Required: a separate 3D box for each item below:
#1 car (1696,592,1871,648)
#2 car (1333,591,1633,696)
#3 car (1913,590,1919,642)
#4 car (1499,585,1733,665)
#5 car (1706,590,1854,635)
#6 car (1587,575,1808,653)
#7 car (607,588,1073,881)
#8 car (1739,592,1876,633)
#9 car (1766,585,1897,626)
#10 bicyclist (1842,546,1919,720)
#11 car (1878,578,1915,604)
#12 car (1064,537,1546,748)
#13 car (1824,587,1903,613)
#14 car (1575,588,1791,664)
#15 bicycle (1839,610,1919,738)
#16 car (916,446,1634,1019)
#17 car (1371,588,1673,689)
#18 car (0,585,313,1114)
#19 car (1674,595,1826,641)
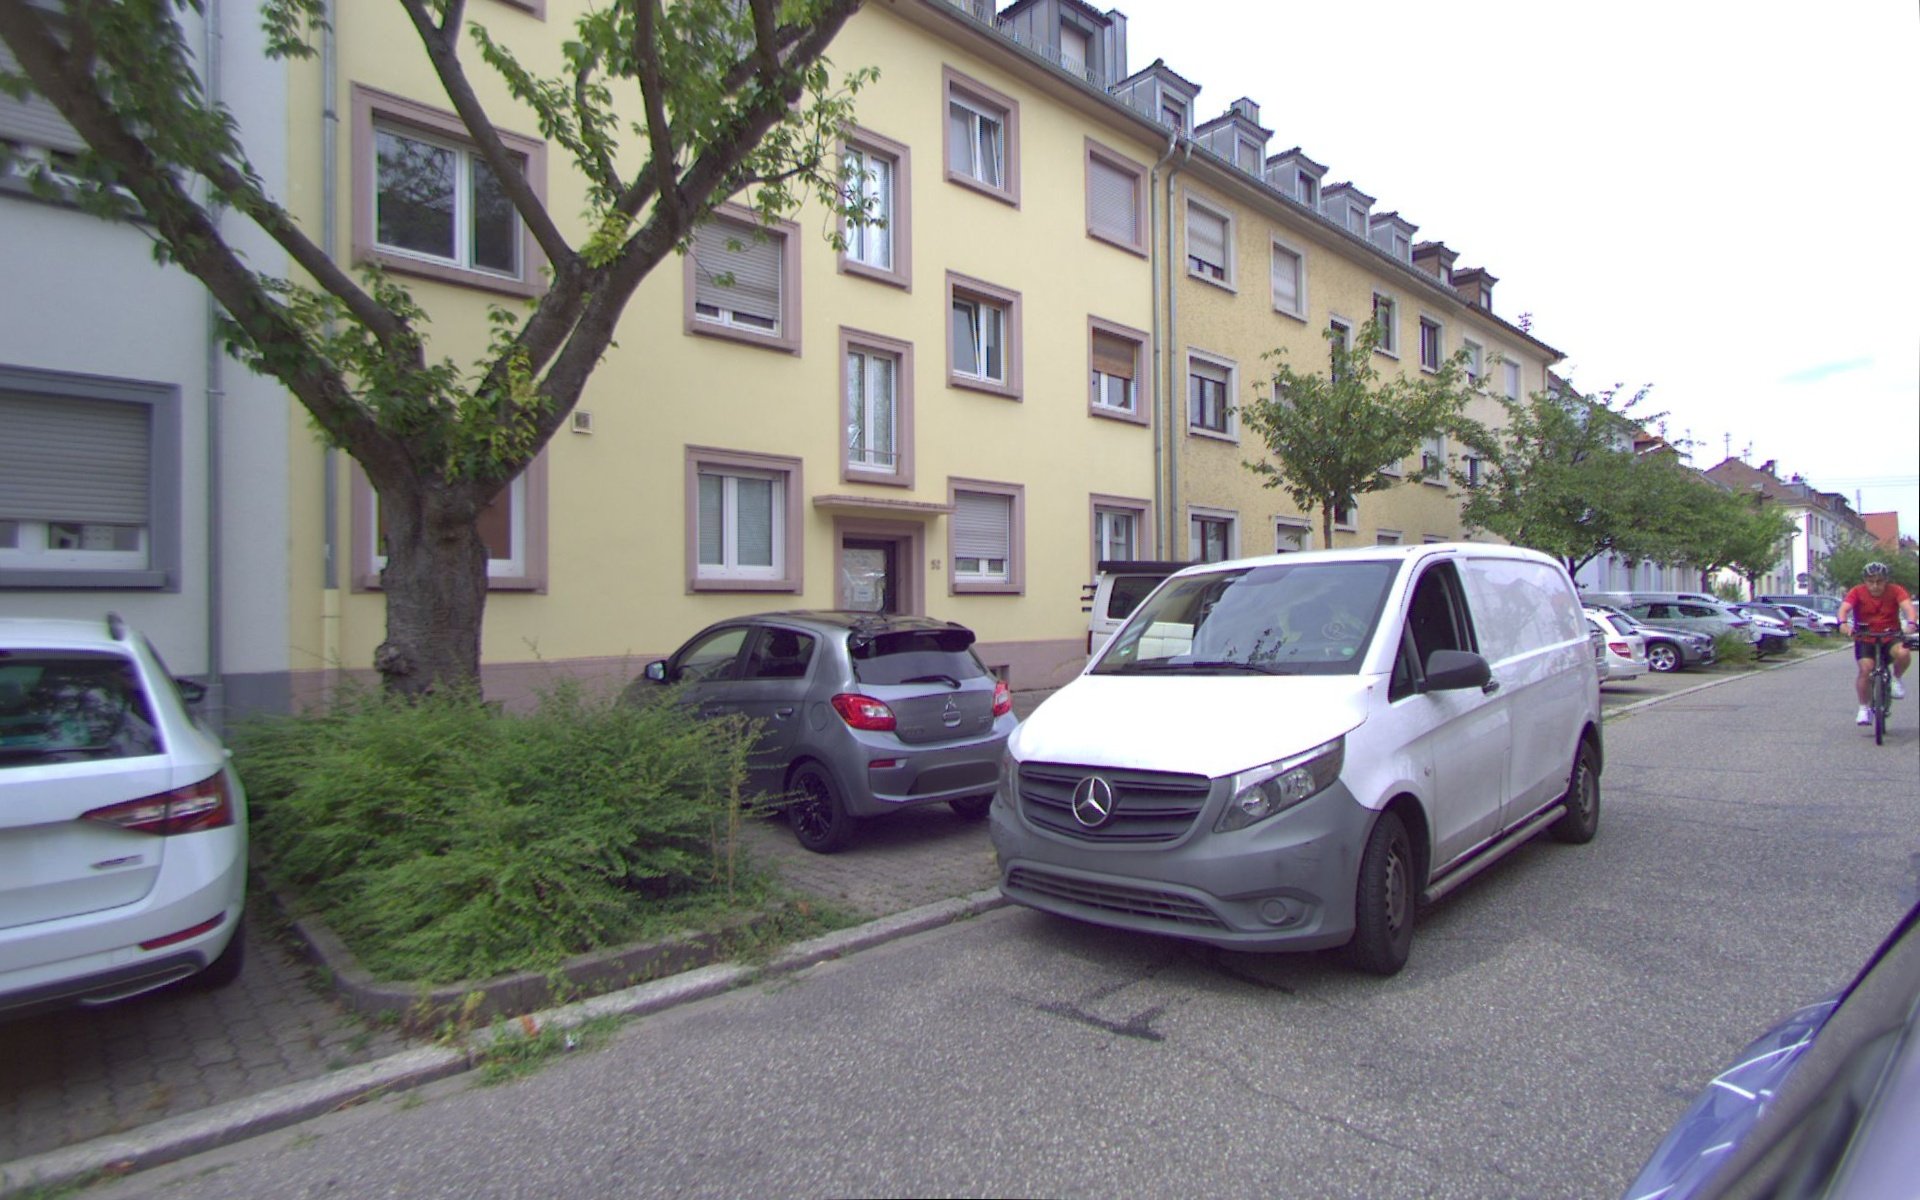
[{"bbox_3d":[25.886,0.570,31.908,1.683,1.555,4.112,-1,2,-44],"label":"car"},{"bbox_3d":[8.618,0.622,16.910,1.821,1.432,4.095,-1,2,-45],"label":"car"},{"bbox_3d":[32.685,0.486,33.256,4.756,1.624,1.785,-1,0,-44],"label":"car"},{"bbox_3d":[15.316,0.511,23.799,1.819,1.617,4.313,-1,2,-43],"label":"car"},{"bbox_3d":[33.664,0.474,41.646,1.836,1.632,4.405,0,2,-37],"label":"car"},{"bbox_3d":[20.588,0.308,28.420,1.819,1.933,4.744,-1,2,-43],"label":"car"},{"bbox_3d":[-1.060,0.746,7.664,1.785,1.593,3.482,-1,2,-44],"label":"car"},{"bbox_3d":[36.977,0.498,44.216,1.839,1.555,4.398,-1,2,-43],"label":"car"},{"bbox_3d":[42.812,0.217,49.815,1.839,1.850,4.713,-1,2,-43],"label":"car"},{"bbox_3d":[10.074,0.341,10.933,0.970,1.792,0.692,-1,-1,-44],"label":"bicyclist"},{"bbox_3d":[62.915,-0.590,67.963,3.386,1.697,1.643,0,-1,-44],"label":"car"},{"bbox_3d":[3.976,0.322,12.403,5.229,2.048,2.041,2,2,43],"label":"car"},{"bbox_3d":[53.399,0.005,59.851,3.431,1.465,1.621,-1,-1,44],"label":"car"},{"bbox_3d":[18.786,0.605,26.443,1.820,1.704,4.313,-1,3,-43],"label":"car"},{"bbox_3d":[10.063,0.746,10.914,1.905,1.243,0.692,-1,-1,-44],"label":"bicycle"},{"bbox_3d":[2.135,0.444,5.802,1.993,1.939,4.629,-3,-1,44],"label":"car"},{"bbox_3d":[10.225,0.592,18.679,1.821,1.529,4.550,-1,2,-45],"label":"car"},{"bbox_3d":[-4.135,0.695,4.324,1.611,1.437,3.991,-1,2,-43],"label":"car"},{"bbox_3d":[30.130,0.652,38.699,1.683,1.518,4.396,-1,2,-44],"label":"car"}]
